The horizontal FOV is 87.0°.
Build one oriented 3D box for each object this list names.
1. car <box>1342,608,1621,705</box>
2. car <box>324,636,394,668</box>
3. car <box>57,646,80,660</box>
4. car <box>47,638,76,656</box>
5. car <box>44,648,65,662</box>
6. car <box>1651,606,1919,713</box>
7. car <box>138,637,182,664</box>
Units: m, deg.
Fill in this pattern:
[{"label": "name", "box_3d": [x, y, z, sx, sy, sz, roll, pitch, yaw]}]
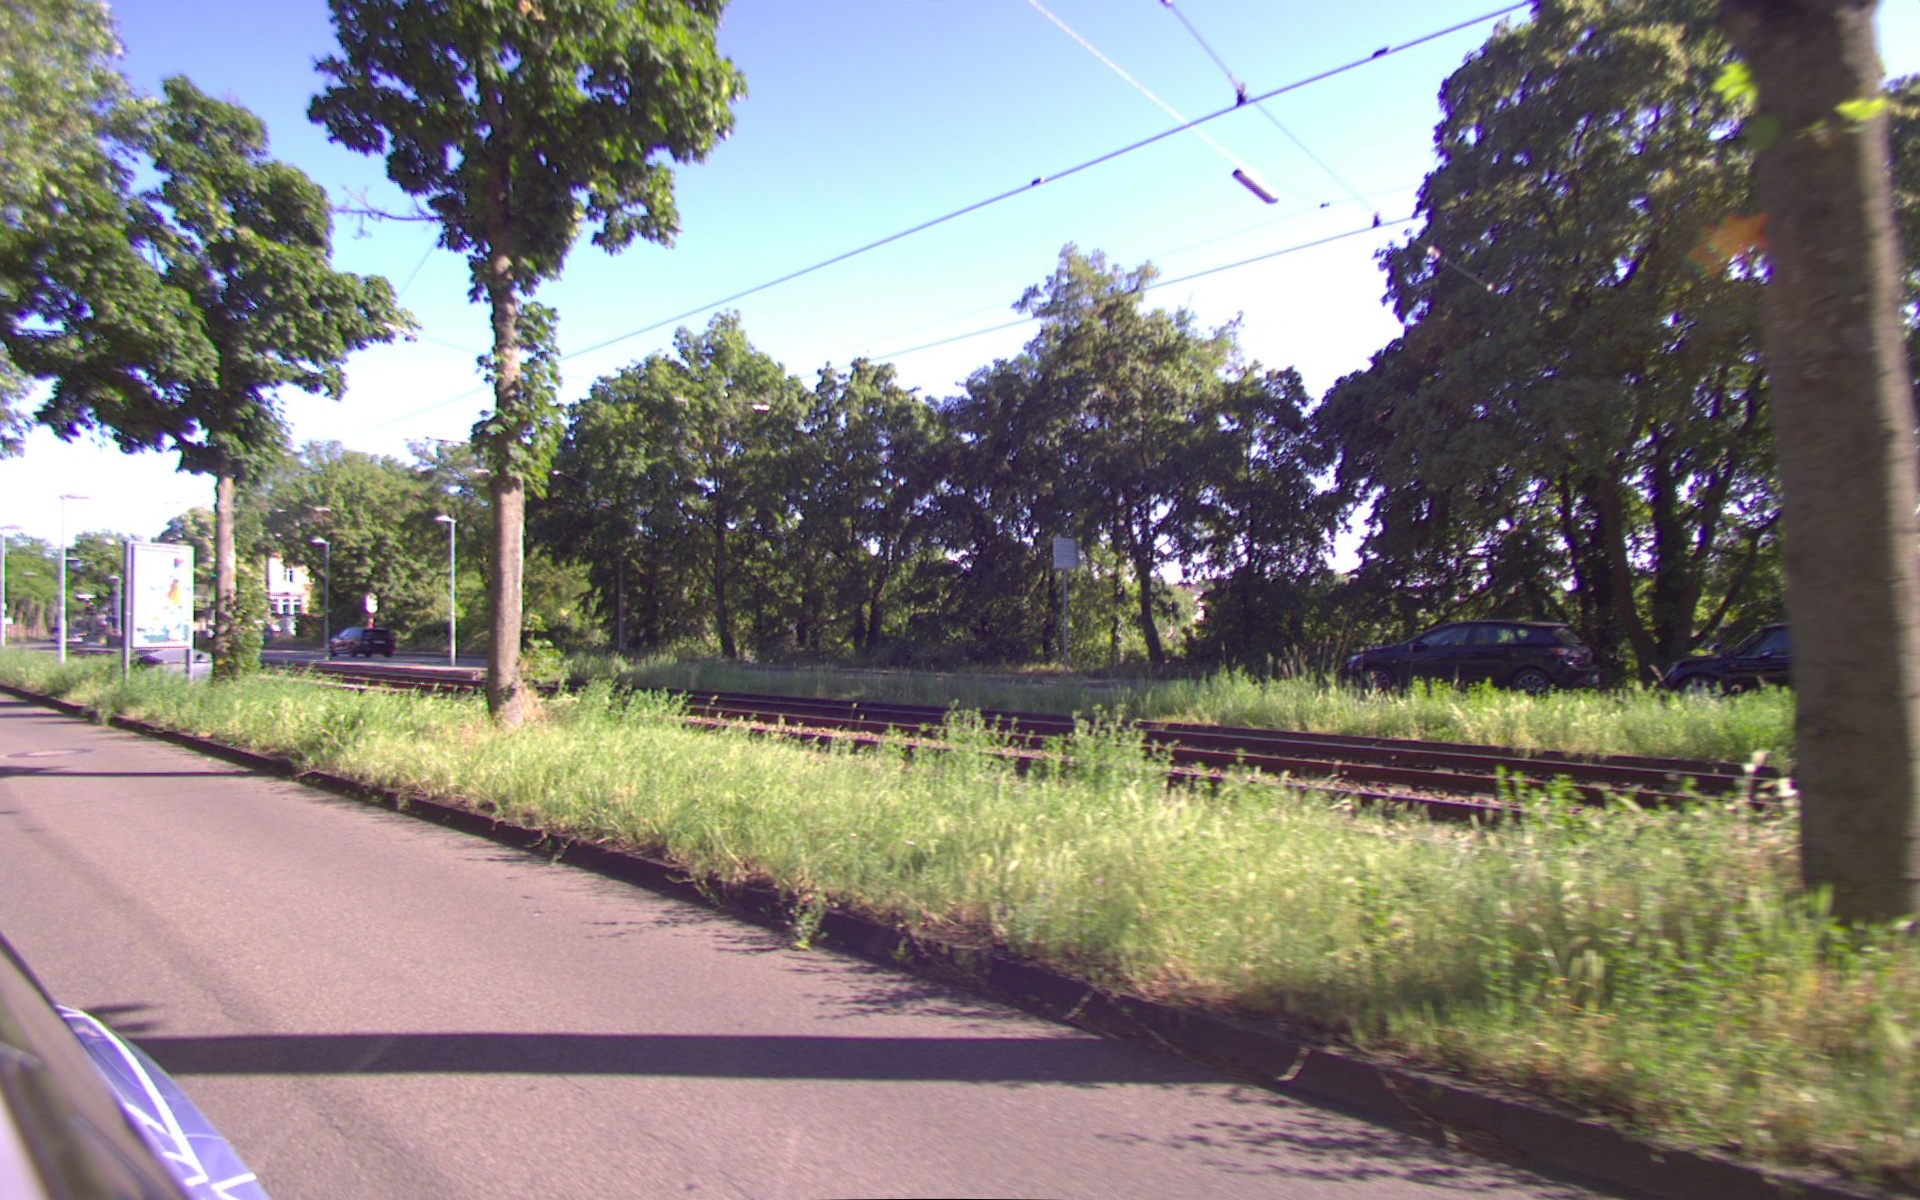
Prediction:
[{"label": "car", "box_3d": [9.562, 0.976, 18.777, 4.282, 1.575, 1.748, -2, 0, 43]}, {"label": "car", "box_3d": [-29.680, 2.556, 49.923, 4.591, 1.506, 1.619, -2, -4, 42]}, {"label": "car", "box_3d": [-100.629, 5.988, 114.262, 1.825, 1.389, 3.446, -2, 0, -39]}, {"label": "car", "box_3d": [-83.517, 4.331, 94.041, 3.672, 1.569, 1.592, -2, 0, 42]}, {"label": "car", "box_3d": [-112.311, 6.798, 125.509, 1.827, 1.497, 3.549, -2, 0, -44]}, {"label": "car", "box_3d": [13.110, 0.851, 15.476, 3.999, 1.445, 1.692, -2, 0, 42]}, {"label": "car", "box_3d": [-51.467, 3.225, 65.095, 3.672, 1.569, 1.592, -2, 0, 42]}]
